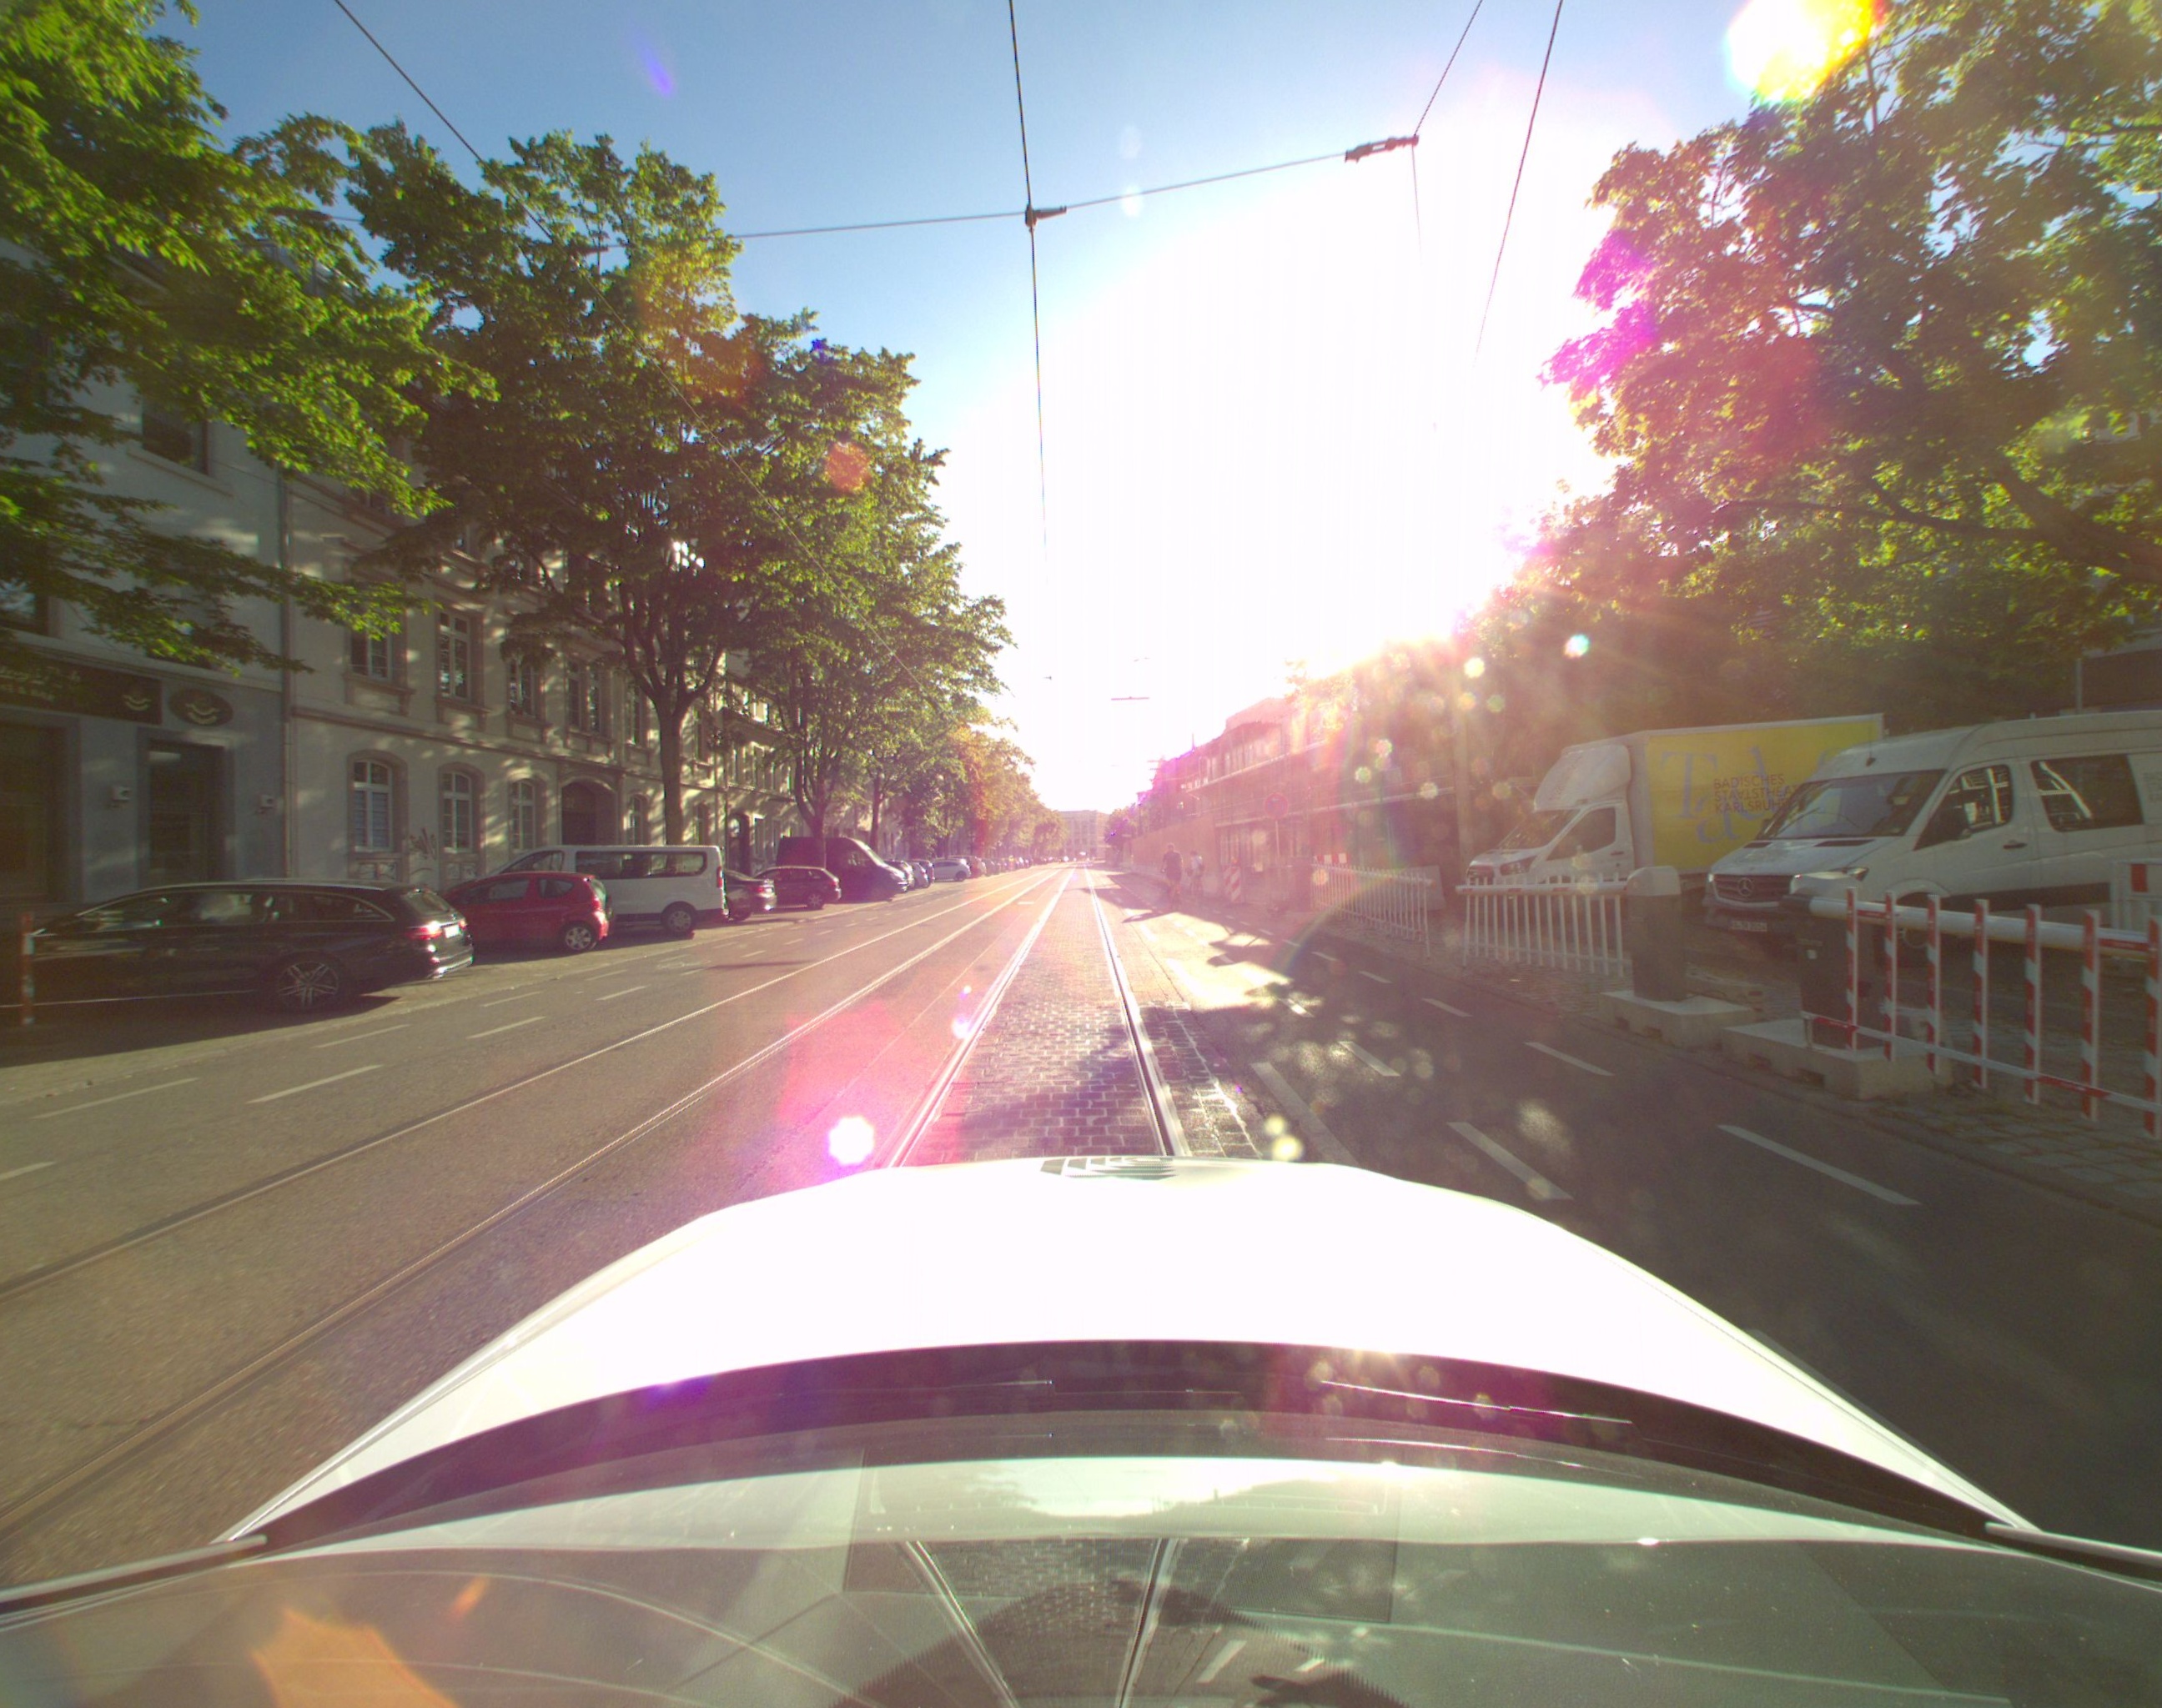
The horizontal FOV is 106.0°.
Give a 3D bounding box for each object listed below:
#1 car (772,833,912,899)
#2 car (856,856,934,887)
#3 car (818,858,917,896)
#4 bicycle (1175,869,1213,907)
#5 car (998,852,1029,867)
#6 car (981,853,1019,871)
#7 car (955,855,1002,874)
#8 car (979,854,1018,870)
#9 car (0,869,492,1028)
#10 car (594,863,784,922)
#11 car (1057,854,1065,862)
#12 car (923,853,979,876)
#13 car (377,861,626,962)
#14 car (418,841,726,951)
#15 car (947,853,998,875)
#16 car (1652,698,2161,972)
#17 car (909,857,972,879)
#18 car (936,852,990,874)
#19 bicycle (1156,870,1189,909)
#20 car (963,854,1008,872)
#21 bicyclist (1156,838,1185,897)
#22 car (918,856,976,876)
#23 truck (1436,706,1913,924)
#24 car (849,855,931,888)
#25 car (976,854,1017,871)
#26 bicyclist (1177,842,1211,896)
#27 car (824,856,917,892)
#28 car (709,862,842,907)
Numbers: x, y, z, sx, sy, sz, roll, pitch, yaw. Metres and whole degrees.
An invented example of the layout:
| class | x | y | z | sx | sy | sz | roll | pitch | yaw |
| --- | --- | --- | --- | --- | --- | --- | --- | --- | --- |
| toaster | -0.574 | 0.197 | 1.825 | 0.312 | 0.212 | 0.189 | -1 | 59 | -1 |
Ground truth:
| class | x | y | z | sx | sy | sz | roll | pitch | yaw |
| --- | --- | --- | --- | --- | --- | --- | --- | --- | --- |
| car | -9.878 | 0.499 | 34.067 | 5.170 | 2.578 | 2.243 | 1 | -1 | -4 |
| car | -10.455 | 0.982 | 46.114 | 4.083 | 1.608 | 1.824 | 1 | -1 | -8 |
| car | -9.566 | 0.995 | 36.744 | 4.083 | 1.608 | 1.824 | -1 | 0 | -8 |
| bicycle | 3.506 | 1.029 | 25.521 | 0.890 | 1.093 | 2.430 | 0 | 0 | 0 |
| car | -9.756 | 0.792 | 117.961 | 4.103 | 2.054 | 1.815 | 1 | -1 | -22 |
| car | -9.616 | 0.957 | 96.570 | 4.103 | 2.054 | 1.815 | 1 | -1 | -22 |
| car | -9.758 | 0.992 | 77.675 | 4.103 | 1.754 | 1.815 | 1 | -1 | -22 |
| car | -9.506 | 0.950 | 93.634 | 4.103 | 1.754 | 1.815 | 1 | -1 | -22 |
| car | -9.942 | 0.990 | 9.525 | 4.650 | 1.491 | 1.675 | -1 | -1 | -24 |
| car | -10.151 | 1.001 | 21.395 | 4.085 | 1.419 | 1.823 | 1 | -1 | -9 |
| car | -5.106 | 1.075 | 205.942 | 1.677 | 1.837 | 3.867 | 1 | -1 | -4 |
| car | -10.346 | 0.815 | 64.705 | 4.103 | 1.754 | 1.815 | 1 | -1 | -22 |
| car | -10.381 | 0.959 | 14.886 | 3.327 | 1.503 | 1.677 | -2 | 2 | -21 |
| car | -10.628 | 0.796 | 17.630 | 5.355 | 1.991 | 2.022 | -2 | 0 | -24 |
| car | -9.465 | 0.873 | 71.201 | 4.103 | 1.754 | 1.815 | 1 | -1 | -22 |
| car | 10.105 | -0.272 | 9.570 | 5.352 | 2.530 | 1.998 | -5 | 0 | -4 |
| car | -9.894 | 0.993 | 57.466 | 4.101 | 1.453 | 1.816 | 1 | -1 | -21 |
| car | -9.819 | 0.744 | 67.578 | 4.103 | 1.754 | 1.815 | 1 | -1 | -22 |
| bicycle | 2.594 | 1.005 | 23.342 | 0.678 | 1.018 | 1.920 | -2 | 0 | -1 |
| car | -9.670 | 0.906 | 82.373 | 4.103 | 1.754 | 1.815 | 1 | -1 | -22 |
| bicyclist | 2.571 | 0.377 | 23.404 | 0.678 | 1.658 | 0.812 | -2 | -1 | -1 |
| car | -10.235 | 0.928 | 62.135 | 4.101 | 1.453 | 1.816 | 1 | -1 | -21 |
| truck | 10.755 | -0.688 | 15.234 | 7.075 | 3.348 | 2.390 | -3 | 0 | -1 |
| car | -10.157 | 0.931 | 43.582 | 4.083 | 1.608 | 1.824 | 1 | -1 | -8 |
| car | -9.367 | 0.954 | 90.291 | 4.103 | 1.754 | 1.815 | 1 | -1 | -22 |
| bicyclist | 3.502 | 0.461 | 25.341 | 0.890 | 1.639 | 1.100 | 0 | 0 | 0 |
| car | -10.024 | 0.932 | 39.087 | 4.083 | 1.608 | 1.824 | 1 | -1 | -8 |
| car | -10.292 | 1.037 | 27.750 | 4.096 | 1.419 | 1.818 | 1 | -1 | -17 |
